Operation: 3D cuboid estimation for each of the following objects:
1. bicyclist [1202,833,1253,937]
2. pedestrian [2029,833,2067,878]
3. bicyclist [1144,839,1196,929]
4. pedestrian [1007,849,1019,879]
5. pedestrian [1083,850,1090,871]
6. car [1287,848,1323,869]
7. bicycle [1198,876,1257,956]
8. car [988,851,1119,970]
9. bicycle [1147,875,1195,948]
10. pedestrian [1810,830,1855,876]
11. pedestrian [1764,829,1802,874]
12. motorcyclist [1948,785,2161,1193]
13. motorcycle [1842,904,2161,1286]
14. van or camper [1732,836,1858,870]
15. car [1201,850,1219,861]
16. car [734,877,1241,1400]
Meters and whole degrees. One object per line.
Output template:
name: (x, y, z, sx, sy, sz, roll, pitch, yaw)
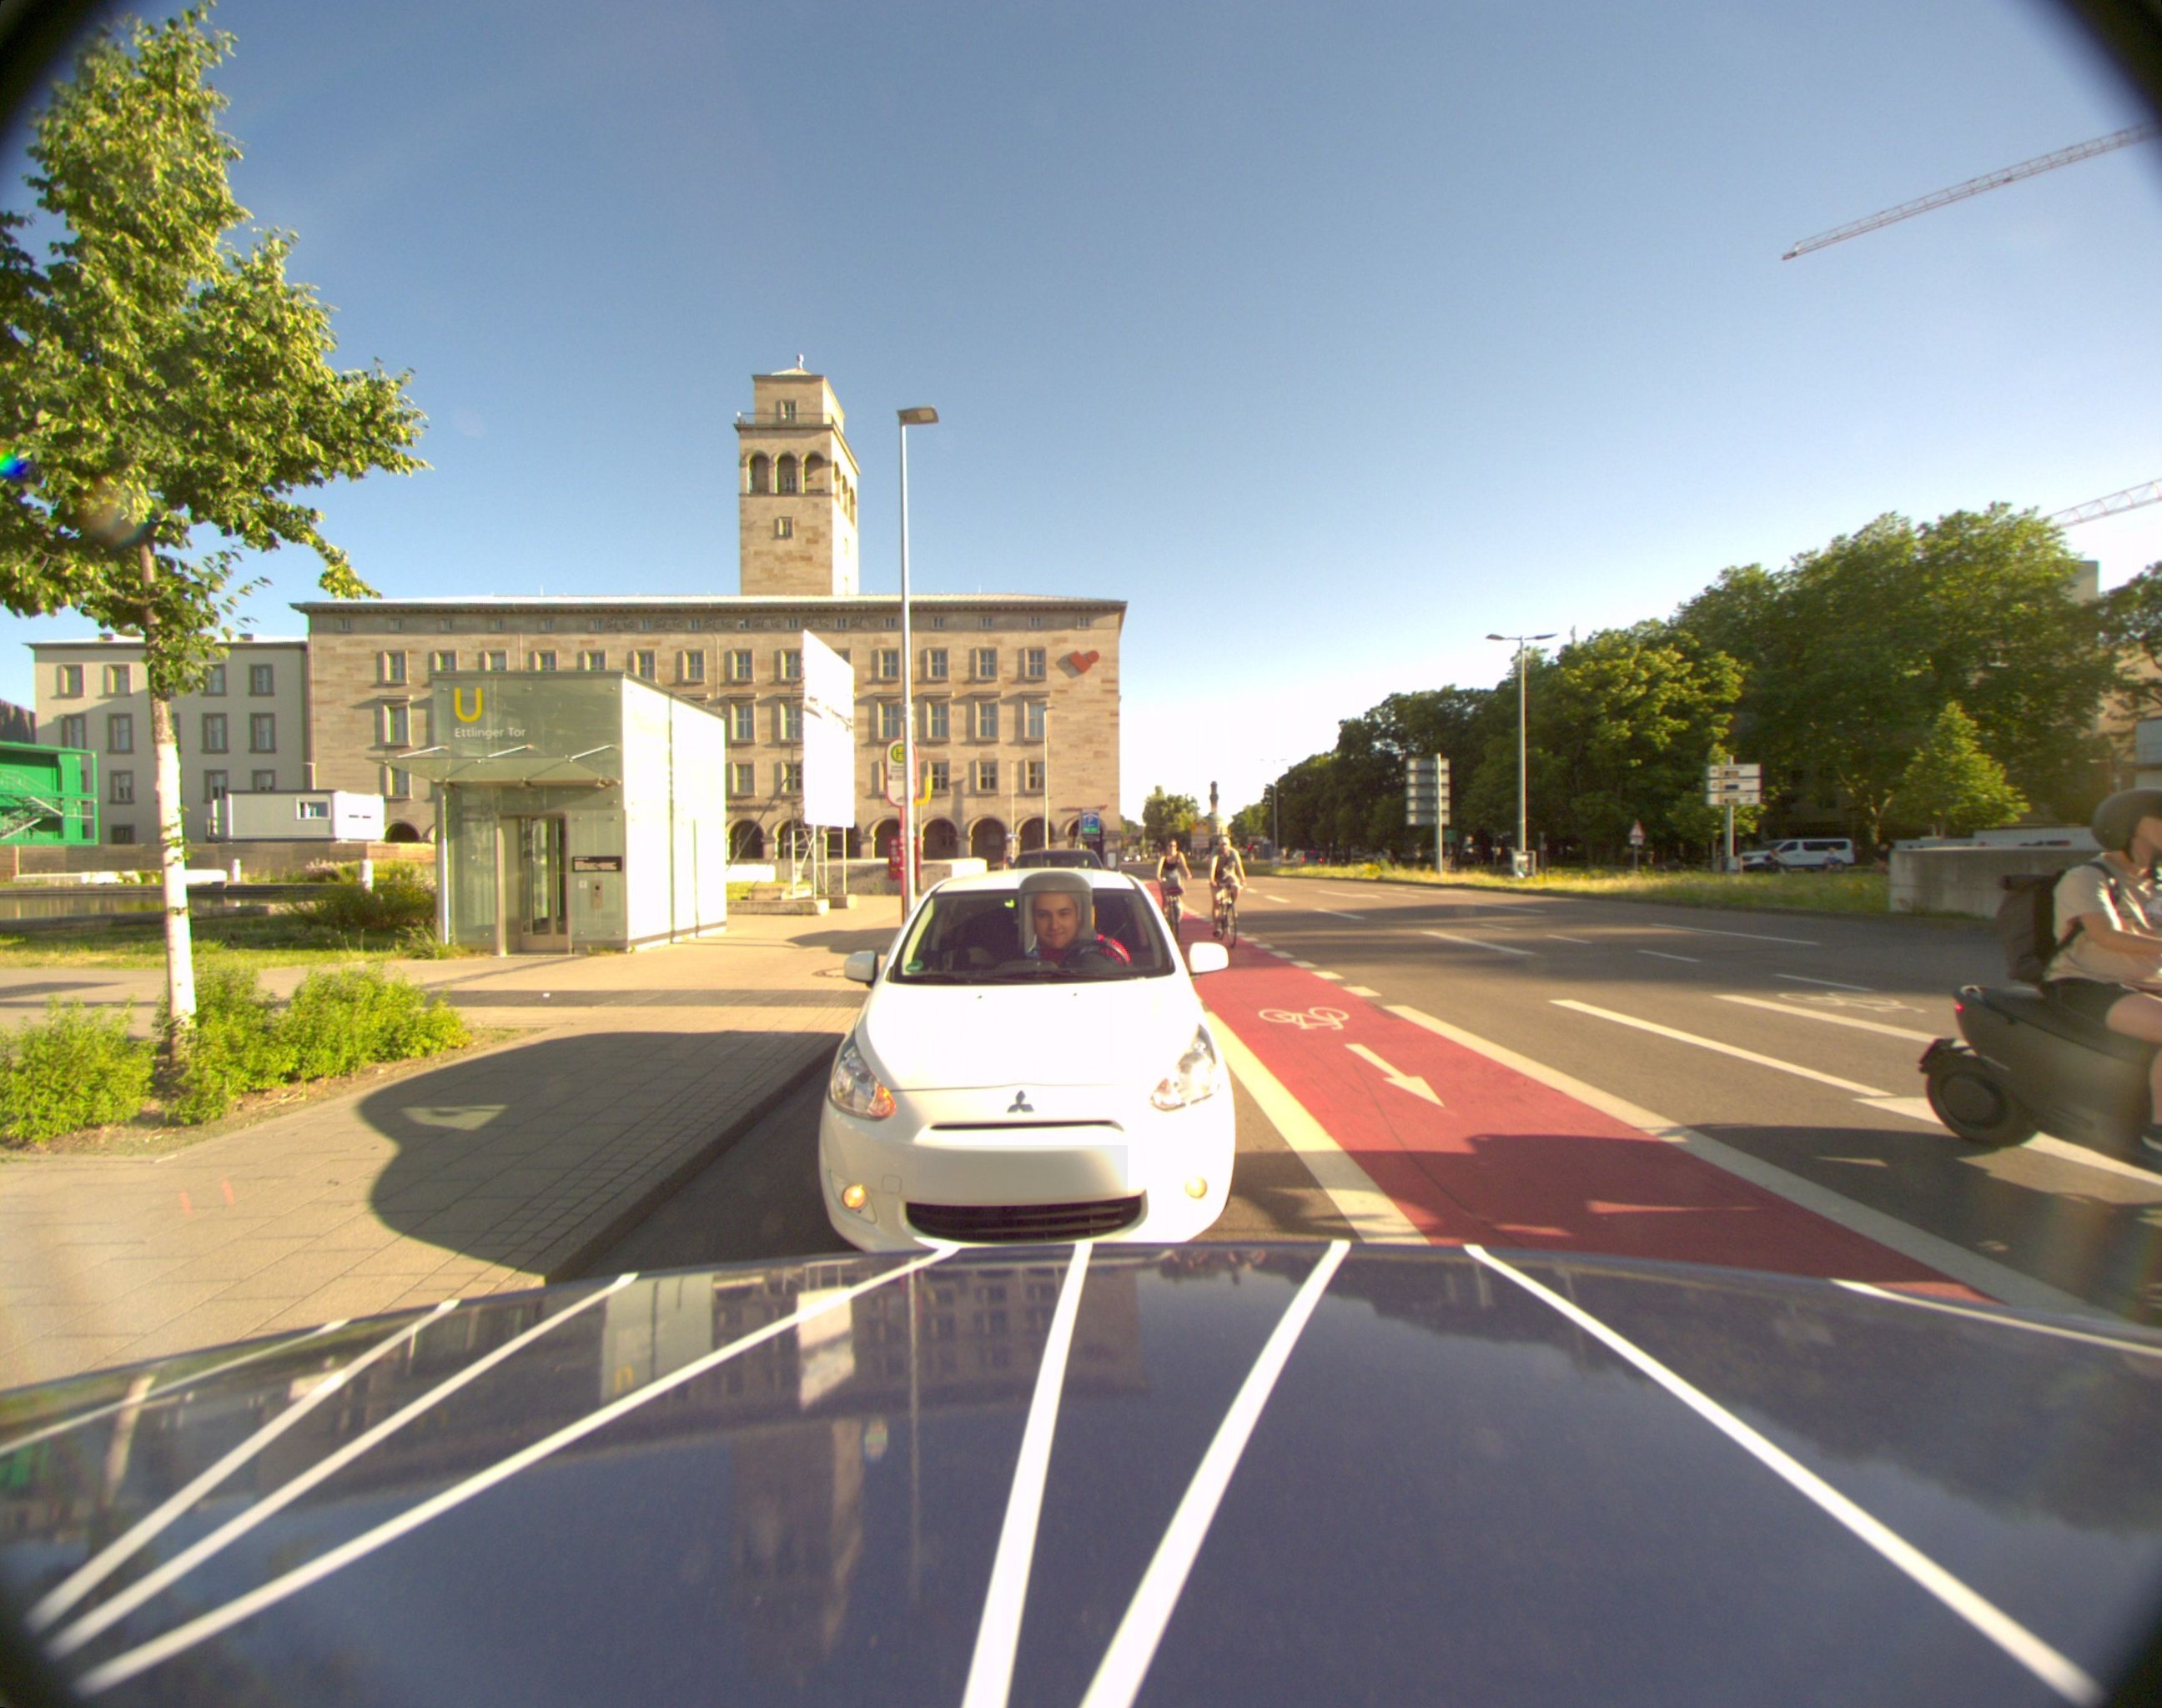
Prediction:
bicyclist: (2.403, 0.498, 12.560, 0.674, 1.649, 0.877, -1, 1, 1)
pedestrian: (34.713, 0.052, 27.270, 0.588, 1.593, 0.598, -2, 1, -2)
bicyclist: (1.579, 0.518, 13.619, 0.823, 1.568, 0.877, -1, 1, 1)
pedestrian: (-3.976, 0.583, 44.454, 0.595, 1.700, 0.583, -1, 1, 1)
pedestrian: (0.419, 0.489, 61.079, 0.552, 1.692, 0.553, -1, 1, -1)
car: (21.601, 0.399, 73.456, 1.887, 1.911, 4.930, -1, 0, -2)
bicycle: (2.404, 0.984, 12.594, 0.689, 1.185, 1.506, -1, 1, 1)
car: (-0.366, 0.800, 12.796, 1.833, 1.660, 4.000, -1, 0, 1)
bicycle: (1.589, 1.003, 13.664, 0.689, 1.185, 1.506, -1, 1, 1)
pedestrian: (33.064, -0.031, 33.451, 1.126, 1.952, 0.815, -2, 1, 1)
pedestrian: (32.513, -0.110, 35.197, 0.957, 2.002, 0.839, -2, 1, -8)
motorcyclist: (4.270, 0.477, 2.942, 0.823, 1.455, 0.877, -1, 1, 1)
motorcycle: (4.271, 0.900, 2.888, 0.828, 1.273, 1.944, -1, 0, 1)
van or camper: (42.238, -0.045, 45.059, 5.499, 1.934, 1.951, -1, 0, 4)
car: (16.731, 0.227, 98.420, 1.728, 1.369, 3.943, -1, 0, 1)
car: (-0.256, 0.929, 4.306, 1.519, 1.447, 4.000, -1, 0, 1)
